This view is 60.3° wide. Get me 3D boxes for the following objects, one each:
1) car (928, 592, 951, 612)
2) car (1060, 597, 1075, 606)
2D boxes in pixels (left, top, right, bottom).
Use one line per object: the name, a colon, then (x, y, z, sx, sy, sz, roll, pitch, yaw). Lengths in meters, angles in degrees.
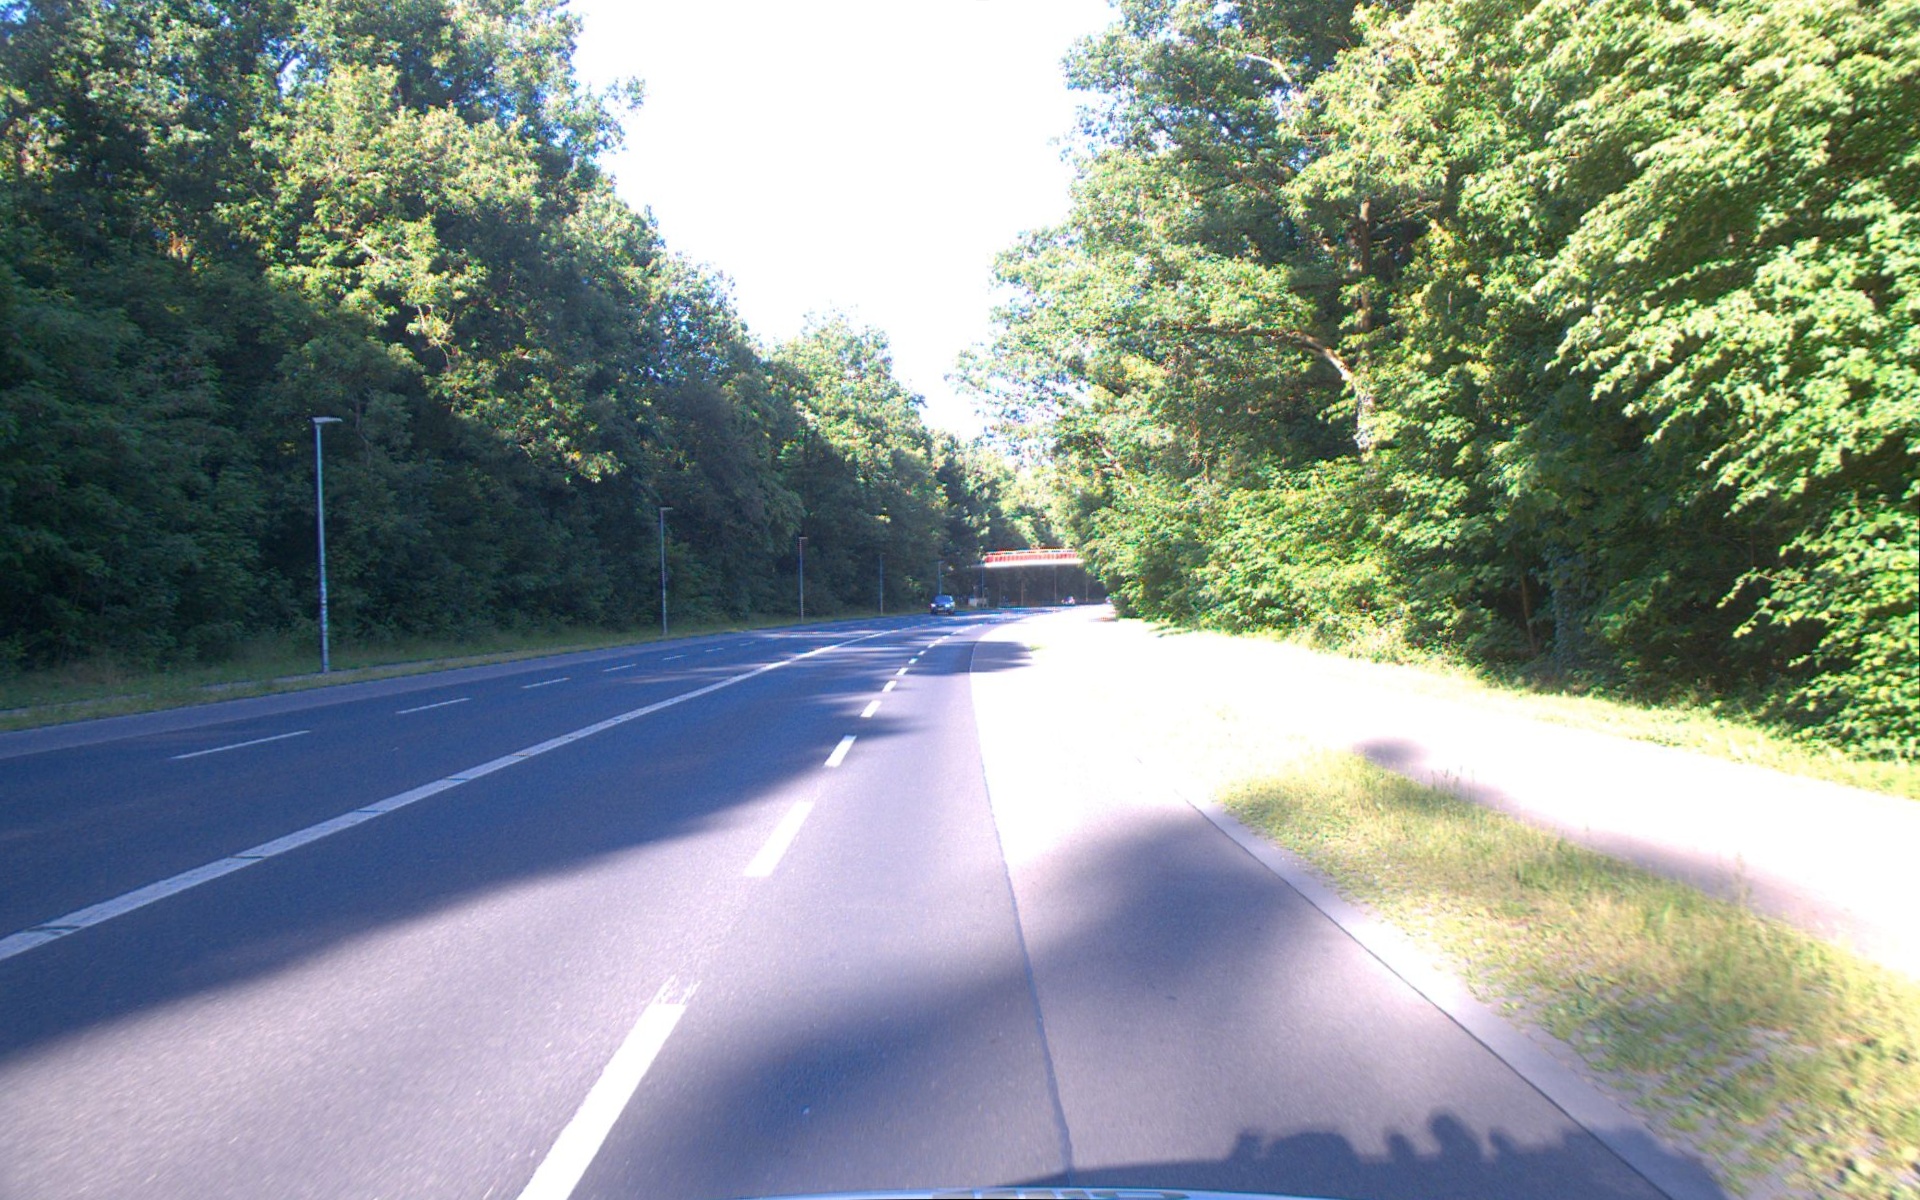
car: (-1.755, 0.191, 143.004, 1.770, 1.692, 4.522, 0, 0, 1)
car: (16.753, 0.210, 257.395, 1.673, 1.448, 4.134, -1, 0, 12)
